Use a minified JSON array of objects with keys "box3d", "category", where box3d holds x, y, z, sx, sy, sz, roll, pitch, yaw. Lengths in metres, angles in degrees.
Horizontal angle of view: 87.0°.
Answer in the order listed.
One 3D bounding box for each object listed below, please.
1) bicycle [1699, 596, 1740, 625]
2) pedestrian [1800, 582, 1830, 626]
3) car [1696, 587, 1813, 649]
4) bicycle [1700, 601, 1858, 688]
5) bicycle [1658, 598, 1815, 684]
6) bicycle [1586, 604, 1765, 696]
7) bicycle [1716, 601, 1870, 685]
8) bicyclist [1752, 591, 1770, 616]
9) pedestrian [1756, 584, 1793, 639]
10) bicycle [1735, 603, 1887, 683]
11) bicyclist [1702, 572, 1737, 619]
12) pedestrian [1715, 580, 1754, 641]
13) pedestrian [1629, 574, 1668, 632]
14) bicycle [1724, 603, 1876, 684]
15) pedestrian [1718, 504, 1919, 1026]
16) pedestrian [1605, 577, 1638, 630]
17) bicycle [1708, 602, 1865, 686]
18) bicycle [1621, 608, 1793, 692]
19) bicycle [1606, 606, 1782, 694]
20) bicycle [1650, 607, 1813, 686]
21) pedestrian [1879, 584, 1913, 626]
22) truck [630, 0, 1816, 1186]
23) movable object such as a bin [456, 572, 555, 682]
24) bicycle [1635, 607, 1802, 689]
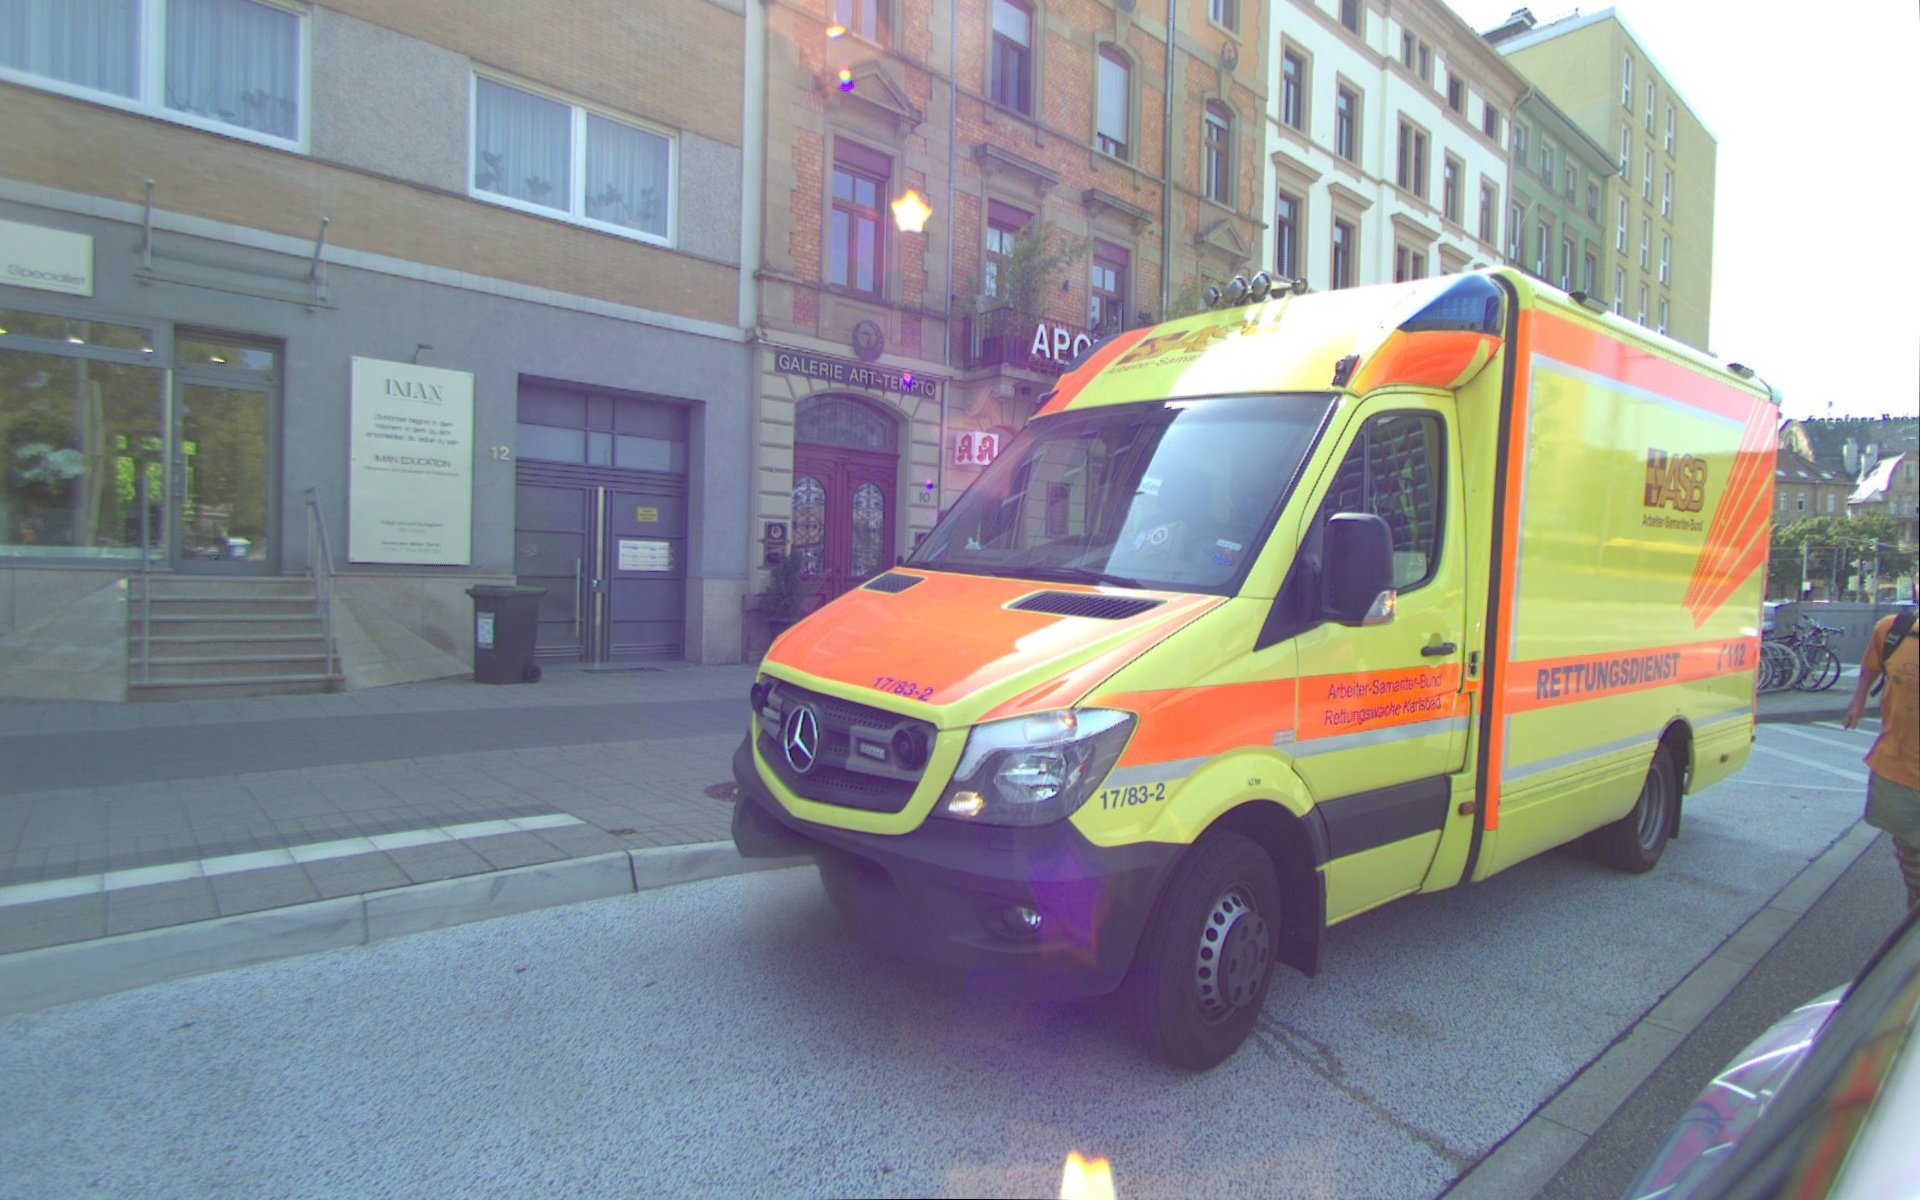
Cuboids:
[{"box3d":[26.482,0.367,35.276,1.965,0.965,0.720,1,1,-40],"category":"bicycle"},{"box3d":[32.960,0.151,38.997,0.782,1.648,0.646,1,2,-36],"category":"pedestrian"},{"box3d":[21.543,0.458,27.405,3.864,1.444,1.666,0,4,-40],"category":"car"},{"box3d":[12.468,0.644,15.461,0.427,1.219,1.841,0,0,-40],"category":"bicycle"},{"box3d":[11.881,0.594,15.537,0.539,1.219,1.841,0,0,-40],"category":"bicycle"},{"box3d":[9.292,0.612,13.200,0.686,1.089,1.806,0,0,-41],"category":"bicycle"},{"box3d":[13.144,0.651,16.027,0.427,1.235,1.841,0,0,-40],"category":"bicycle"},{"box3d":[62.658,0.277,79.198,0.650,1.926,0.861,0,0,-10],"category":"bicyclist"},{"box3d":[25.398,0.353,31.551,0.781,1.648,0.646,1,2,-35],"category":"pedestrian"},{"box3d":[13.984,0.672,16.675,0.626,1.219,1.841,0,0,-40],"category":"bicycle"},{"box3d":[26.486,-0.165,35.269,1.083,1.606,0.720,1,1,-40],"category":"bicyclist"},{"box3d":[23.403,0.307,30.574,0.782,1.780,0.689,1,2,-39],"category":"pedestrian"},{"box3d":[21.710,0.081,31.914,0.867,1.755,0.771,0,2,-42],"category":"pedestrian"},{"box3d":[13.509,0.666,16.323,0.427,1.219,1.841,0,0,-40],"category":"bicycle"},{"box3d":[3.727,0.570,3.831,1.214,1.763,0.968,2,-1,-31],"category":"pedestrian"},{"box3d":[21.245,0.113,32.509,0.783,1.648,0.645,0,2,-42],"category":"pedestrian"},{"box3d":[12.801,0.650,15.731,0.427,1.219,1.841,0,0,-40],"category":"bicycle"},{"box3d":[10.453,0.669,14.218,0.646,1.066,1.841,0,0,-40],"category":"bicycle"},{"box3d":[9.937,0.643,13.766,0.646,1.074,1.841,0,0,-40],"category":"bicycle"},{"box3d":[11.464,0.664,15.088,0.646,1.070,1.841,0,0,-40],"category":"bicycle"},{"box3d":[37.421,0.187,40.466,0.780,1.648,0.647,1,2,-19],"category":"pedestrian"},{"box3d":[1.860,-0.166,5.072,6.222,2.803,2.336,0,4,-38],"category":"truck"},{"box3d":[-4.955,0.274,11.048,0.640,1.118,0.723,3,2,24],"category":"movable object such as a bin"},{"box3d":[10.943,0.663,14.652,0.646,1.074,1.841,0,0,-40],"category":"bicycle"}]
